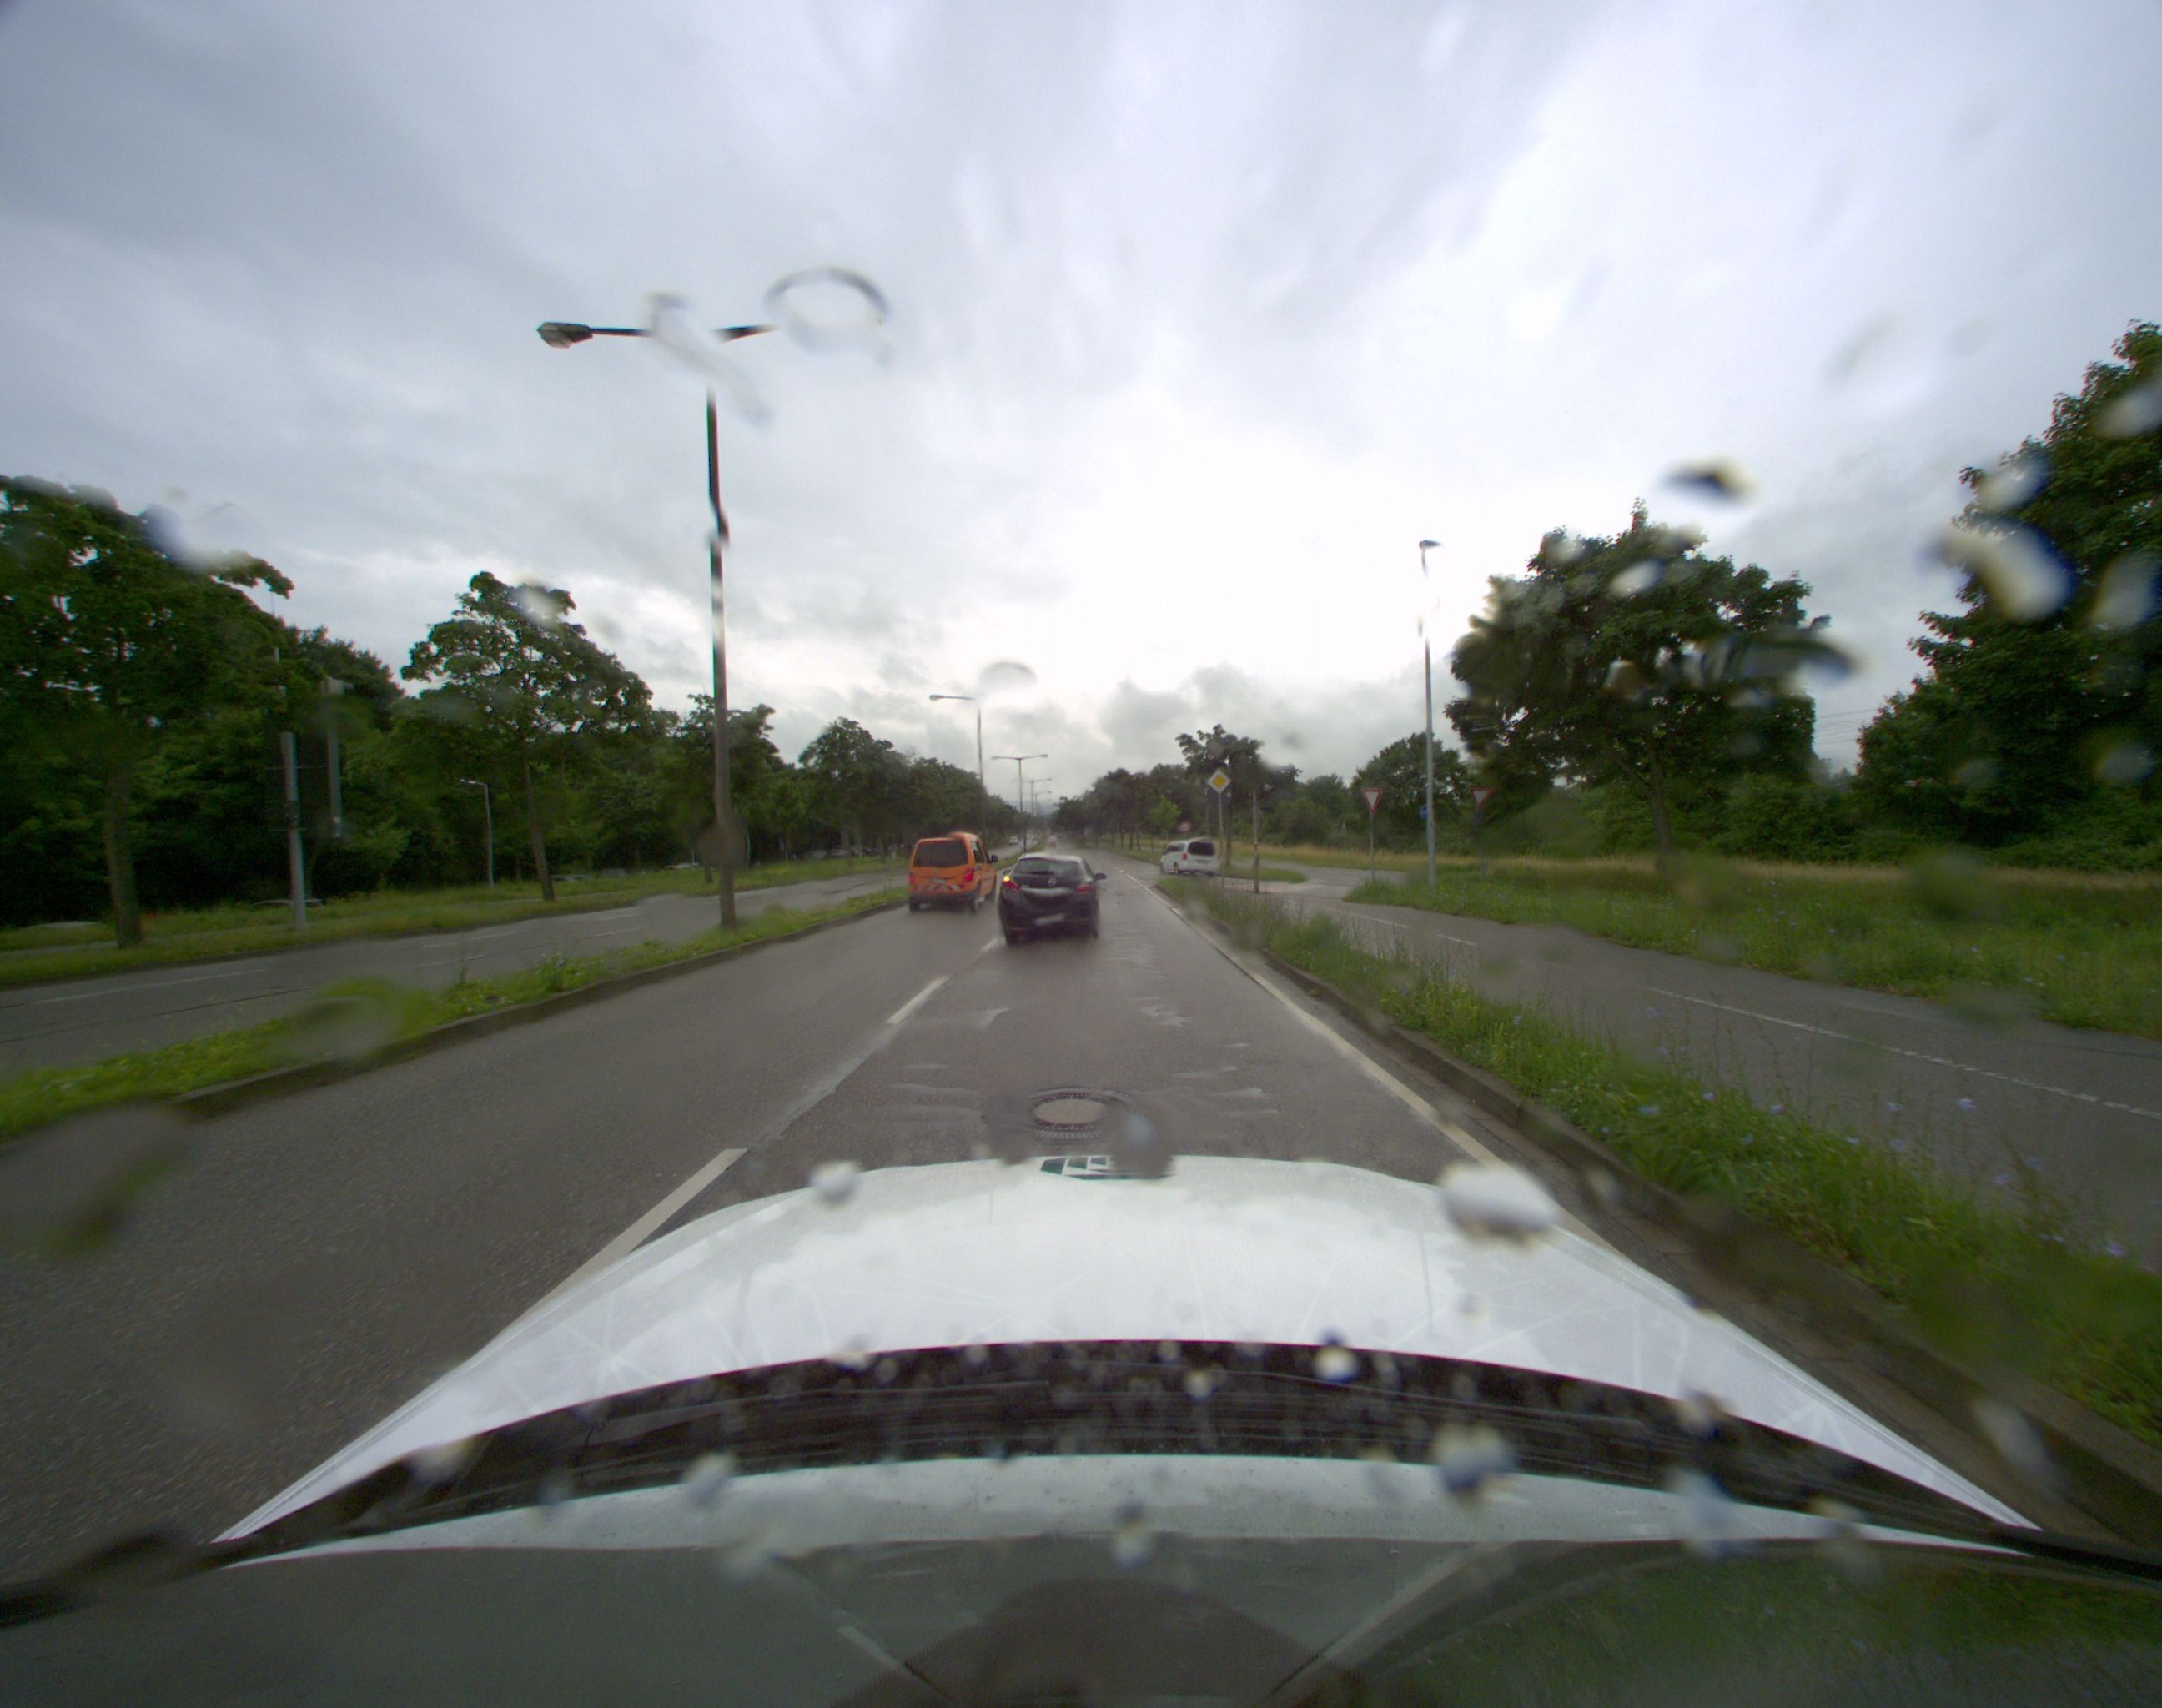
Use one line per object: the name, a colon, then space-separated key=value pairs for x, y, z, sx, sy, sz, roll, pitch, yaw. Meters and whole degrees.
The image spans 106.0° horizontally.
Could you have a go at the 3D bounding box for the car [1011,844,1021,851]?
car: x=-12.966 y=-1.295 z=162.281 sx=1.677 sy=1.554 sz=4.001 roll=0 pitch=0 yaw=1

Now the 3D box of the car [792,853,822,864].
car: x=-39.930 y=0.685 z=118.742 sx=3.830 sy=1.452 sz=1.522 roll=-2 pitch=1 yaw=-6

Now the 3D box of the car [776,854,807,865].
car: x=-39.500 y=0.743 z=111.116 sx=3.729 sy=1.426 sz=1.485 roll=-2 pitch=1 yaw=-6

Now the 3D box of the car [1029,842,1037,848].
car: x=-11.928 y=-2.232 z=201.949 sx=1.822 sy=1.450 sz=3.808 roll=-2 pitch=1 yaw=0

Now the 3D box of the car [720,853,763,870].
car: x=-37.891 y=0.825 z=91.033 sx=3.982 sy=1.640 sz=1.908 roll=-2 pitch=1 yaw=-6

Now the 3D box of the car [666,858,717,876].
car: x=-37.621 y=1.255 z=78.740 sx=3.982 sy=1.618 sz=1.996 roll=-2 pitch=1 yaw=-6

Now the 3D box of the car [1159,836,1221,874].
car: x=5.846 y=0.040 z=44.262 sx=2.059 sy=1.974 sz=4.592 roll=-1 pitch=0 yaw=-10

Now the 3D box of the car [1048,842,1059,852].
car: x=-5.241 y=-1.405 z=155.613 sx=1.986 sy=1.879 sz=4.002 roll=-1 pitch=0 yaw=2

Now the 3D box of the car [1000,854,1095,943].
car: x=-0.510 y=0.721 z=15.022 sx=1.457 sy=1.328 sz=3.760 roll=-1 pitch=1 yaw=2

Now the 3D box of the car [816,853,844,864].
car: x=-39.809 y=0.700 z=129.226 sx=3.830 sy=1.452 sz=1.522 roll=-2 pitch=1 yaw=-6

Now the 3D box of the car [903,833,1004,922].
car: x=-3.159 y=0.518 z=21.128 sx=1.728 sy=2.018 sz=4.851 roll=0 pitch=1 yaw=2

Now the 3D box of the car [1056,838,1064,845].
car: x=-6.775 y=-4.097 z=261.136 sx=2.509 sy=2.052 sz=5.290 roll=-2 pitch=0 yaw=-2

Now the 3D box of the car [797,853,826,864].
car: x=-40.177 y=0.692 z=121.412 sx=3.830 sy=1.452 sz=1.522 roll=-2 pitch=1 yaw=-6

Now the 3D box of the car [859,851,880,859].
car: x=-40.552 y=0.130 z=156.271 sx=3.843 sy=1.452 sz=1.516 roll=-2 pitch=1 yaw=-16

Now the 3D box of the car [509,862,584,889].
car: x=-38.647 y=1.553 z=59.006 sx=3.982 sy=1.703 sz=1.996 roll=-2 pitch=1 yaw=-6

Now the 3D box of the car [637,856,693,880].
car: x=-37.634 y=1.271 z=73.788 sx=3.982 sy=2.013 sz=1.996 roll=-2 pitch=1 yaw=-6

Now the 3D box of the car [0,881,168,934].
car: x=-37.809 y=1.990 z=30.797 sx=3.982 sy=1.685 sz=1.996 roll=-2 pitch=1 yaw=-6

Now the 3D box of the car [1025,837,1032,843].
car: x=-14.932 y=-3.917 z=231.640 sx=1.715 sy=1.529 sz=3.809 roll=-2 pitch=2 yaw=0
